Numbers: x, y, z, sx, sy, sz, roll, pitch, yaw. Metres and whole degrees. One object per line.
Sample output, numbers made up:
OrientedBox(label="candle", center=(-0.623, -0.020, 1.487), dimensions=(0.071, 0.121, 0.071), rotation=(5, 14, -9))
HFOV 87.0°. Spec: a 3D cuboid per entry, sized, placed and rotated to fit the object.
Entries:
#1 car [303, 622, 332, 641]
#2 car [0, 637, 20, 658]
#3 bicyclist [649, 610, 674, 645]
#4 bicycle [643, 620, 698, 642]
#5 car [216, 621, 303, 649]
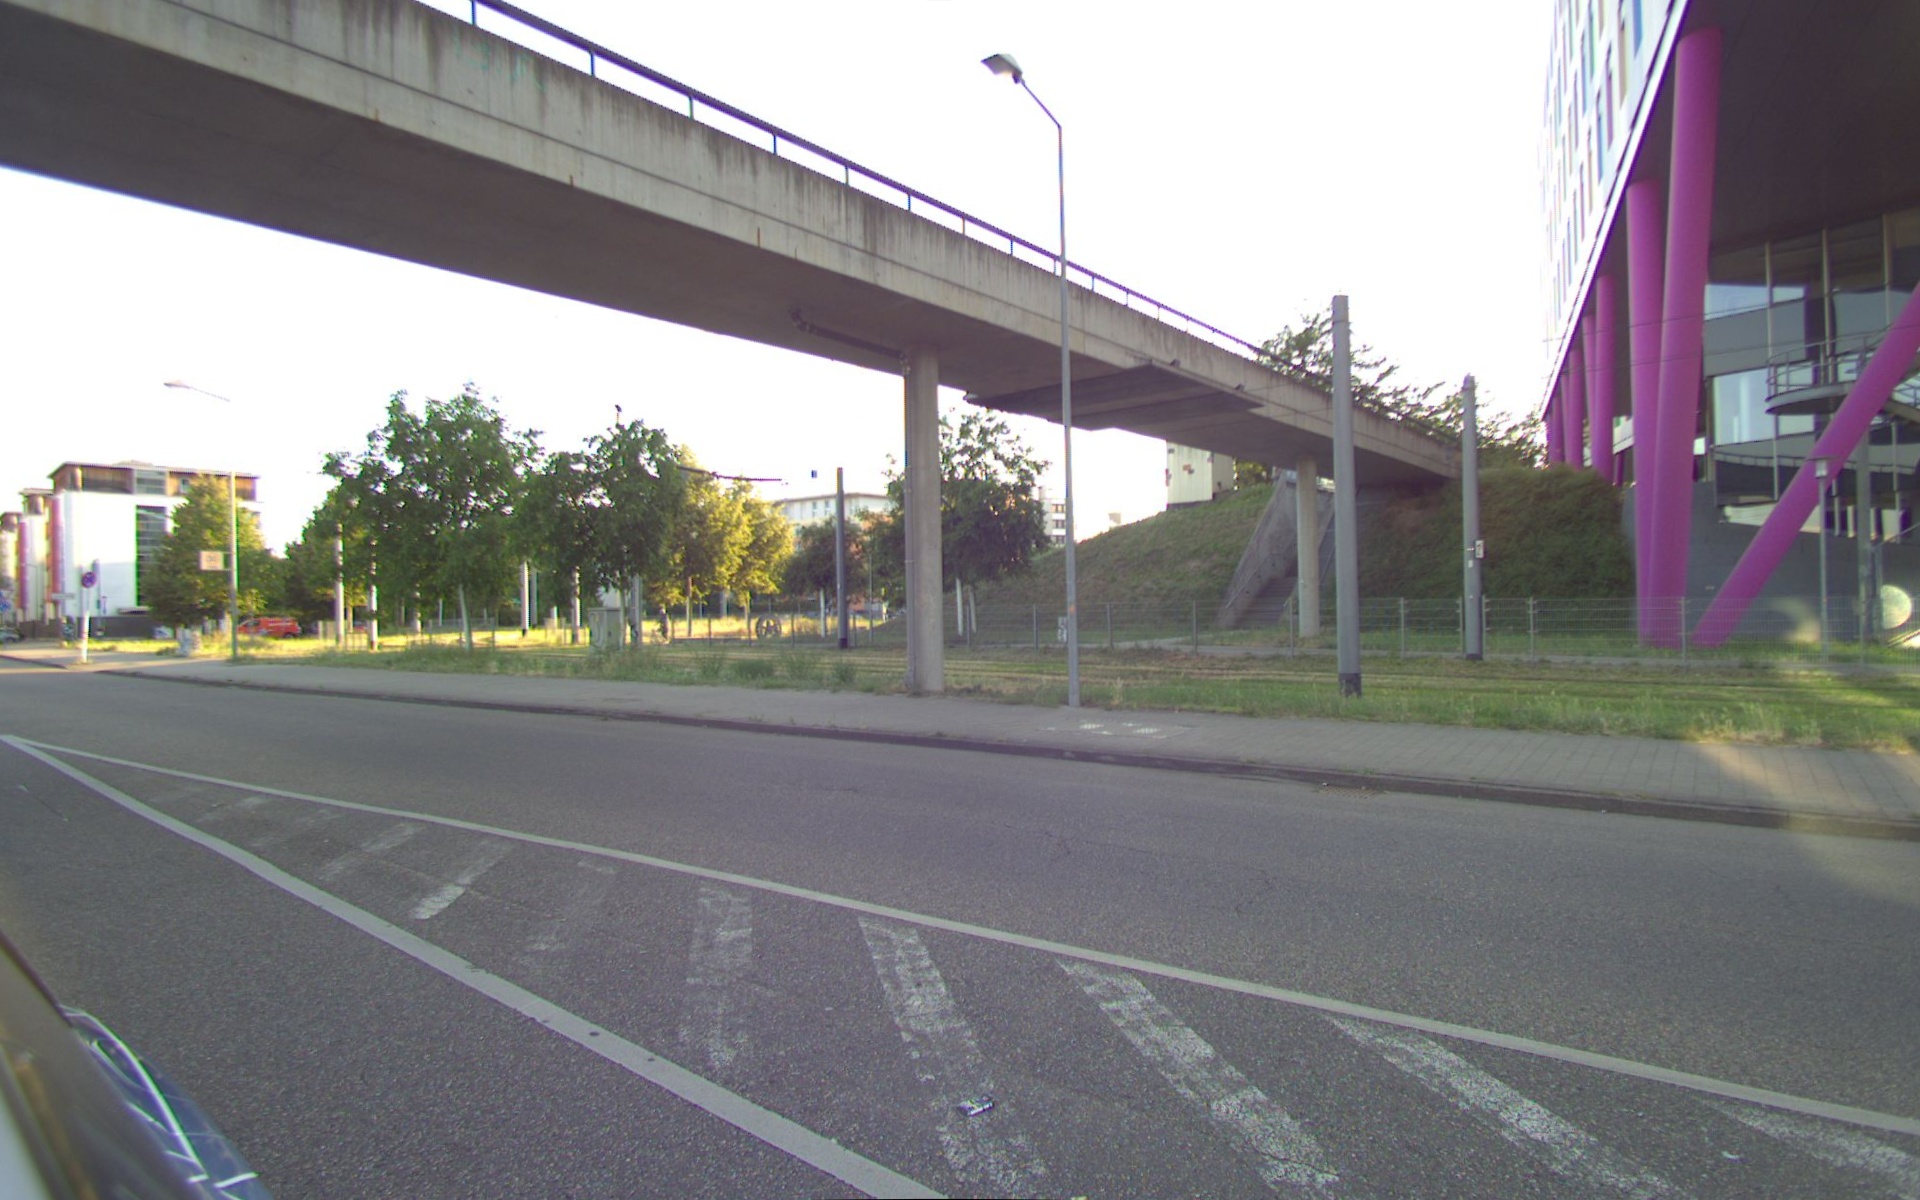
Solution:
OrientedBox(label="car", center=(-55.270, 2.726, 87.049), dimensions=(1.913, 1.541, 4.009), rotation=(-1, -1, -36))
OrientedBox(label="car", center=(-80.428, 3.975, 83.566), dimensions=(2.000, 1.741, 3.944), rotation=(-2, -1, 42))
OrientedBox(label="bicyclist", center=(-14.530, 1.329, 49.317), dimensions=(0.716, 1.644, 0.899), rotation=(-2, -1, 36))
OrientedBox(label="bicycle", center=(-14.215, 1.515, 49.758), dimensions=(0.654, 1.016, 2.808), rotation=(-2, -1, 36))
OrientedBox(label="car", center=(-55.103, 2.747, 79.678), dimensions=(5.440, 2.029, 2.003), rotation=(-1, -1, -41))
